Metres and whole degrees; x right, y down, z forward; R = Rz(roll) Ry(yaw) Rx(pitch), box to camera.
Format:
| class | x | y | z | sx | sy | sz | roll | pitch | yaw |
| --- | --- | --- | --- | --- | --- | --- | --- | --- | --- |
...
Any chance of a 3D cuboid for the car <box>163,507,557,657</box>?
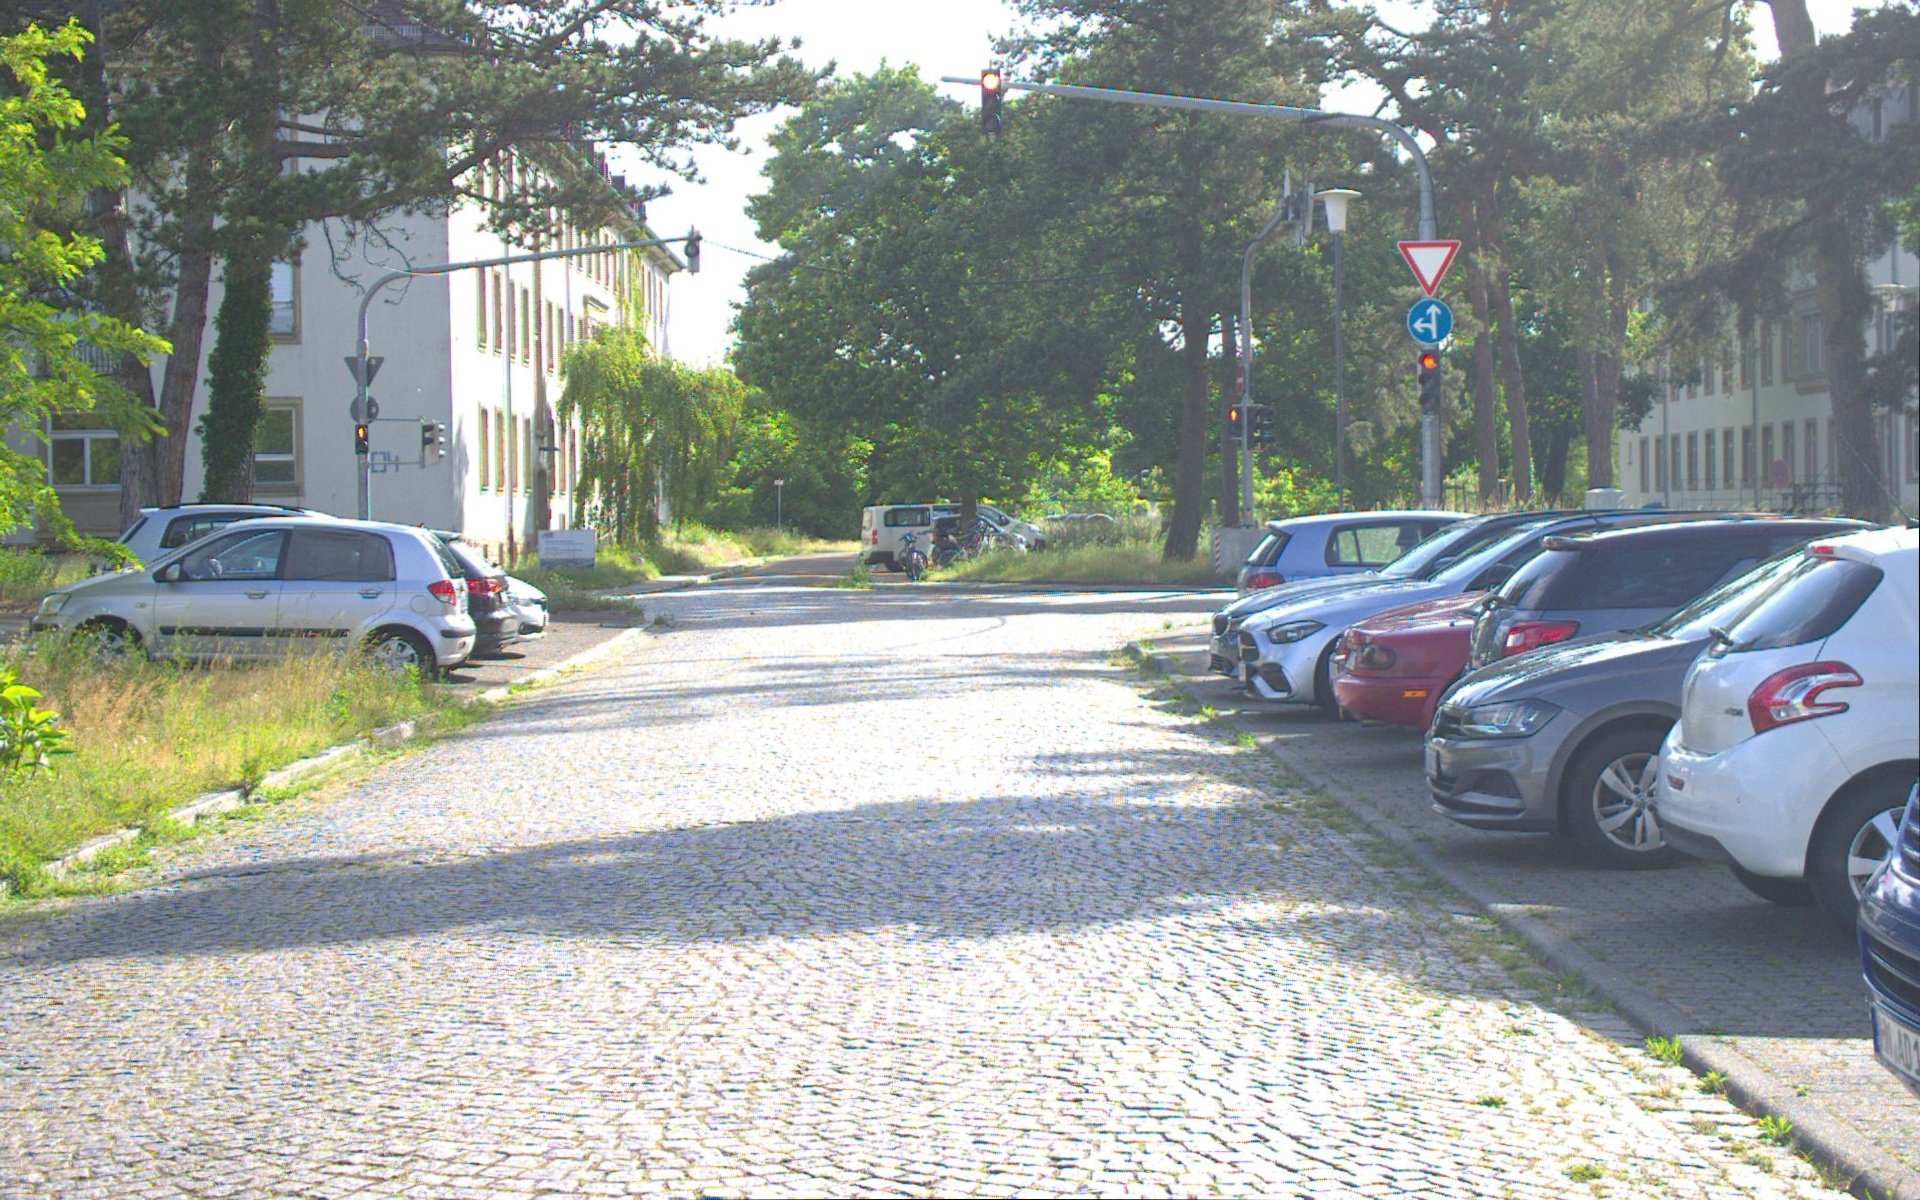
| class | x | y | z | sx | sy | sz | roll | pitch | yaw |
| --- | --- | --- | --- | --- | --- | --- | --- | --- | --- |
| car | -6.570 | -0.215 | 37.973 | 3.987 | 1.448 | 2.000 | 2 | 2 | -1 |

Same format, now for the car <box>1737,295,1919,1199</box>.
| class | x | y | z | sx | sy | sz | roll | pitch | yaw |
| --- | --- | --- | --- | --- | --- | --- | --- | --- | --- |
| car | 4.266 | 0.350 | 7.349 | 4.676 | 2.006 | 2.084 | -1 | 2 | -3 |

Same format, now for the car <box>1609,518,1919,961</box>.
| class | x | y | z | sx | sy | sz | roll | pitch | yaw |
| --- | --- | --- | --- | --- | --- | --- | --- | --- | --- |
| car | 4.395 | 0.407 | 12.551 | 3.694 | 1.460 | 1.645 | -2 | 1 | 0 |

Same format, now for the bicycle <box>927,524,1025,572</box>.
| class | x | y | z | sx | sy | sz | roll | pitch | yaw |
| --- | --- | --- | --- | --- | --- | --- | --- | --- | --- |
| bicycle | 0.362 | -1.219 | 79.969 | 2.172 | 1.096 | 0.807 | 0 | 1 | -10 |

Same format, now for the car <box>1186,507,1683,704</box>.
| class | x | y | z | sx | sy | sz | roll | pitch | yaw |
| --- | --- | --- | --- | --- | --- | --- | --- | --- | --- |
| car | 3.860 | 0.021 | 28.356 | 3.835 | 1.524 | 1.646 | -1 | 2 | -2 |

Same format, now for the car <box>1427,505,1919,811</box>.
| class | x | y | z | sx | sy | sz | roll | pitch | yaw |
| --- | --- | --- | --- | --- | --- | --- | --- | --- | --- |
| car | 4.369 | 0.267 | 18.356 | 3.478 | 1.524 | 1.646 | -1 | 2 | -2 |

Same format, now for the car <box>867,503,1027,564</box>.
| class | x | y | z | sx | sy | sz | roll | pitch | yaw |
| --- | --- | --- | --- | --- | --- | --- | --- | --- | --- |
| car | -0.373 | -1.900 | 97.429 | 4.480 | 1.722 | 2.000 | 0 | 1 | -1 |

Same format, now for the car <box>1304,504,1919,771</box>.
| class | x | y | z | sx | sy | sz | roll | pitch | yaw |
| --- | --- | --- | --- | --- | --- | --- | --- | --- | --- |
| car | 3.952 | 0.196 | 21.046 | 3.478 | 1.524 | 1.646 | -1 | 2 | -2 |

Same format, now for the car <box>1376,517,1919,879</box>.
| class | x | y | z | sx | sy | sz | roll | pitch | yaw |
| --- | --- | --- | --- | --- | --- | --- | --- | --- | --- |
| car | 3.840 | 0.382 | 15.437 | 3.675 | 1.462 | 1.646 | -2 | 2 | -2 |

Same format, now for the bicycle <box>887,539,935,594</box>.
| class | x | y | z | sx | sy | sz | roll | pitch | yaw |
| --- | --- | --- | --- | --- | --- | --- | --- | --- | --- |
| bicycle | -1.092 | -0.749 | 76.513 | 0.804 | 1.165 | 2.181 | -2 | 2 | -6 |

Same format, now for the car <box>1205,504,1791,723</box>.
| class | x | y | z | sx | sy | sz | roll | pitch | yaw |
| --- | --- | --- | --- | --- | --- | --- | --- | --- | --- |
| car | 3.948 | 0.073 | 25.585 | 4.033 | 1.524 | 1.646 | -1 | 2 | -4 |

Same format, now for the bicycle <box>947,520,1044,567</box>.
| class | x | y | z | sx | sy | sz | roll | pitch | yaw |
| --- | --- | --- | --- | --- | --- | --- | --- | --- | --- |
| bicycle | 0.842 | -1.327 | 81.078 | 2.172 | 1.096 | 0.807 | 0 | 1 | -10 |

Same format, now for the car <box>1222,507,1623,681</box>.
| class | x | y | z | sx | sy | sz | roll | pitch | yaw |
| --- | --- | --- | --- | --- | --- | --- | --- | --- | --- |
| car | 4.128 | -0.076 | 30.996 | 3.343 | 1.477 | 1.646 | -1 | 2 | -2 |

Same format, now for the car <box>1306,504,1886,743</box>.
| class | x | y | z | sx | sy | sz | roll | pitch | yaw |
| --- | --- | --- | --- | --- | --- | --- | --- | --- | --- |
| car | 4.265 | 0.129 | 23.404 | 3.602 | 1.524 | 1.646 | -1 | 2 | -2 |

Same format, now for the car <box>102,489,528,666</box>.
| class | x | y | z | sx | sy | sz | roll | pitch | yaw |
| --- | --- | --- | --- | --- | --- | --- | --- | --- | --- |
| car | -6.609 | -0.251 | 35.570 | 3.987 | 1.596 | 2.000 | 3 | 1 | -1 |

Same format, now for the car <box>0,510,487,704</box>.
| class | x | y | z | sx | sy | sz | roll | pitch | yaw |
| --- | --- | --- | --- | --- | --- | --- | --- | --- | --- |
| car | -6.256 | 0.034 | 30.186 | 3.986 | 1.595 | 2.000 | -1 | 2 | -3 |
